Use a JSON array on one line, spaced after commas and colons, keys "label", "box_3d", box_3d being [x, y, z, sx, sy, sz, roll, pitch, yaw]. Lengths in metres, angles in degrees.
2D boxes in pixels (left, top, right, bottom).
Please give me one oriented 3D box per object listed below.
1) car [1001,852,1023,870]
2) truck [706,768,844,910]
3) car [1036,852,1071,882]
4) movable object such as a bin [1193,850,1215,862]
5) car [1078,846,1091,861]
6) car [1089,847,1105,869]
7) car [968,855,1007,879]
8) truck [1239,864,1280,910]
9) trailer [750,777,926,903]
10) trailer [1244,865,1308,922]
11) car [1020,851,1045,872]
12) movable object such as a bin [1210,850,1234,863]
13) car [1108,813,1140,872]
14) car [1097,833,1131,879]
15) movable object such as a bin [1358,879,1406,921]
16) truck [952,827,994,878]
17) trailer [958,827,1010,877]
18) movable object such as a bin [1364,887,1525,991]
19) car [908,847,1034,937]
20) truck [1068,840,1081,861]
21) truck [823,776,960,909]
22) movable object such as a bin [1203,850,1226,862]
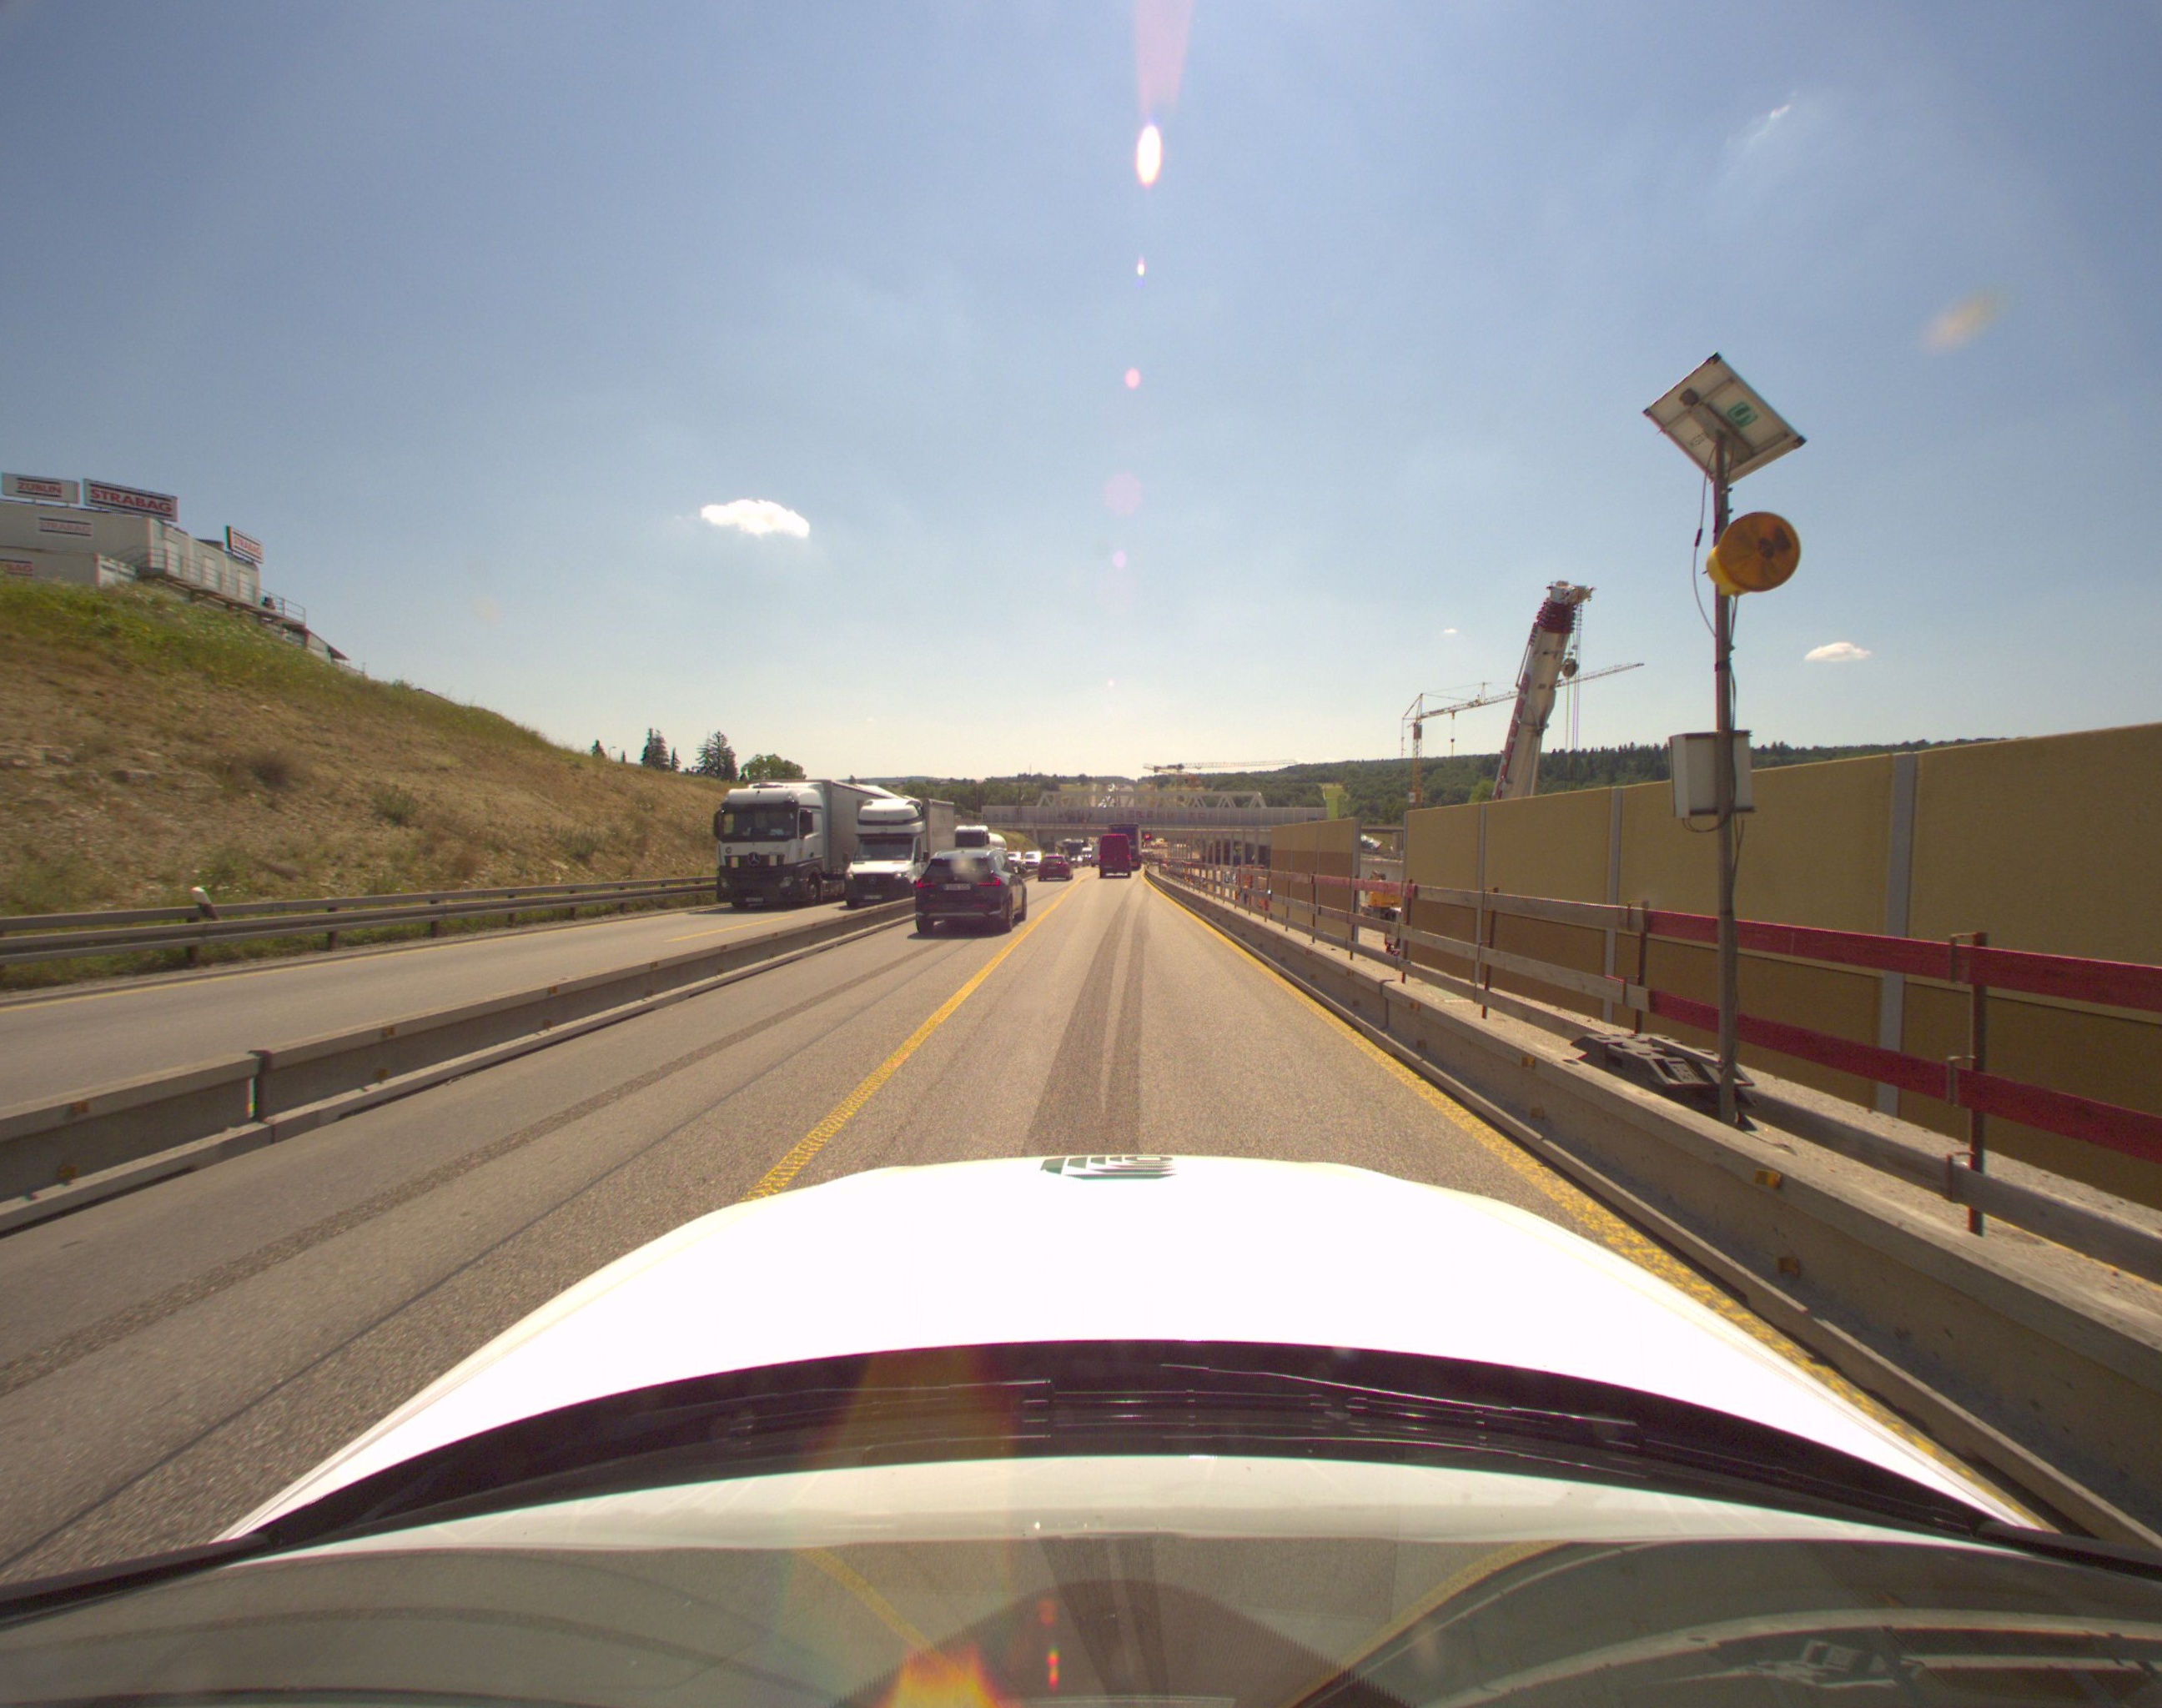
[{"label": "car", "box_3d": [-7.277, 0.693, 86.485, 1.784, 1.762, 4.538, -1, 0, 1]}, {"label": "truck", "box_3d": [-9.306, -0.437, 25.201, 2.688, 4.050, 3.956, 0, 0, 1]}, {"label": "car", "box_3d": [-1.524, 0.698, 46.156, 1.769, 1.517, 4.207, -1, 0, 1]}, {"label": "movable object such as a bin", "box_3d": [29.051, 0.412, 192.626, 5.118, 2.807, 2.147, 0, 0, 7]}, {"label": "car", "box_3d": [0.639, -0.112, 138.721, 1.986, 2.606, 7.015, 0, 0, 2]}, {"label": "car", "box_3d": [1.891, 0.390, 93.726, 1.769, 2.441, 4.208, -1, 0, 2]}, {"label": "car", "box_3d": [-5.811, 0.768, 51.138, 1.773, 1.458, 4.721, 0, 0, 1]}, {"label": "truck", "box_3d": [15.967, 2.909, 73.247, 2.747, 3.886, 5.887, 0, 0, 3]}, {"label": "trailer", "box_3d": [-9.085, -0.497, 32.940, 2.688, 4.024, 13.707, 0, 0, 1]}, {"label": "trailer", "box_3d": [15.491, 2.955, 65.712, 2.747, 3.886, 13.061, 0, 0, 3]}, {"label": "car", "box_3d": [-4.444, 0.666, 75.288, 1.872, 1.745, 4.485, -1, 0, 2]}, {"label": "movable object such as a bin", "box_3d": [31.263, 0.477, 181.078, 5.118, 2.807, 2.147, 0, 0, 7]}, {"label": "car", "box_3d": [3.916, -1.023, 75.767, 2.611, 5.032, 10.401, -1, 0, 2]}, {"label": "car", "box_3d": [2.112, 0.114, 51.281, 1.980, 2.690, 4.627, -1, 0, 3]}, {"label": "movable object such as a bin", "box_3d": [23.904, 3.614, 64.874, 2.270, 3.024, 4.826, 2, 0, 4]}, {"label": "truck", "box_3d": [-8.144, -0.132, 61.960, 2.580, 3.801, 3.768, 0, 0, 2]}, {"label": "trailer", "box_3d": [-7.928, -0.201, 68.278, 2.580, 3.801, 11.923, 0, 0, 2]}, {"label": "movable object such as a bin", "box_3d": [15.303, 3.381, 35.265, 2.955, 3.487, 9.153, 2, 0, 1]}, {"label": "car", "box_3d": [-2.148, 0.678, 17.202, 1.872, 1.618, 4.501, -1, 0, 2]}, {"label": "truck", "box_3d": [-1.136, -0.675, 152.602, 2.350, 4.015, 4.000, 0, 0, 0]}, {"label": "truck", "box_3d": [-5.926, -0.345, 26.744, 2.580, 3.758, 7.361, 0, 0, 1]}, {"label": "movable object such as a bin", "box_3d": [30.763, 0.458, 187.377, 5.118, 2.807, 2.147, 0, 0, 7]}]
